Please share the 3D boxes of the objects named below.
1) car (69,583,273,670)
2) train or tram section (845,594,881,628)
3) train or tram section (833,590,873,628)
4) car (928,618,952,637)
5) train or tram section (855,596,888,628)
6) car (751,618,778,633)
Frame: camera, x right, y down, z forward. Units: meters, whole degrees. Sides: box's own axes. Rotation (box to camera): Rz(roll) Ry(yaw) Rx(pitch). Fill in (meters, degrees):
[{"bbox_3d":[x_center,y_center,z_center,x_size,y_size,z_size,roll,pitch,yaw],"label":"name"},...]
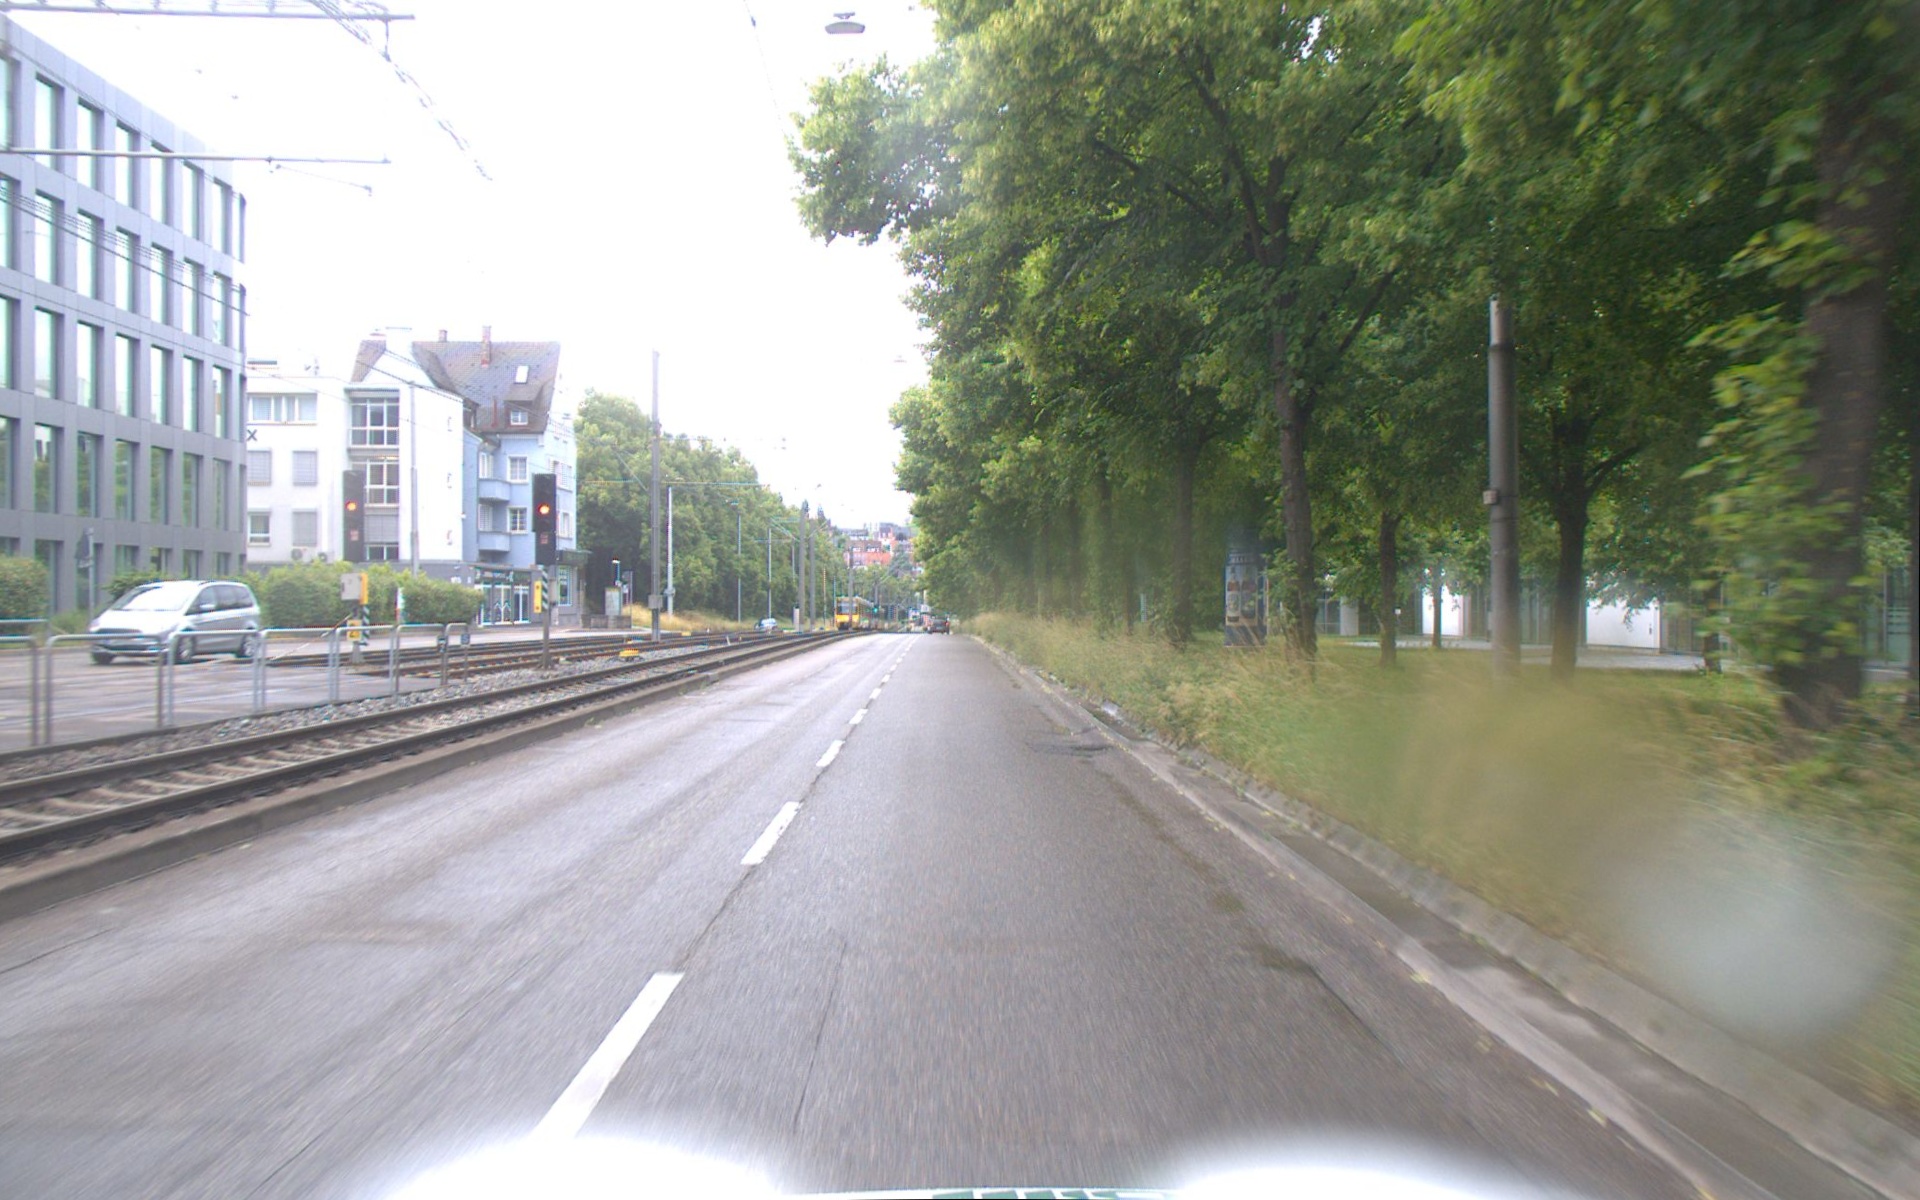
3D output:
[{"bbox_3d":[-16.362,0.521,34.623,1.863,1.673,4.884,0,0,1],"label":"car"},{"bbox_3d":[-11.129,1.348,191.379,3.148,3.863,14.788,0,-1,1],"label":"train or tram section"},{"bbox_3d":[-11.295,1.040,176.546,3.148,3.863,14.788,0,-1,1],"label":"train or tram section"},{"bbox_3d":[-1.621,2.250,136.853,1.942,1.466,4.473,0,0,-1],"label":"car"},{"bbox_3d":[-10.980,1.587,206.268,3.148,3.863,14.788,0,-1,1],"label":"train or tram section"},{"bbox_3d":[-18.116,2.352,153.509,1.863,1.348,4.826,0,-1,1],"label":"car"}]
